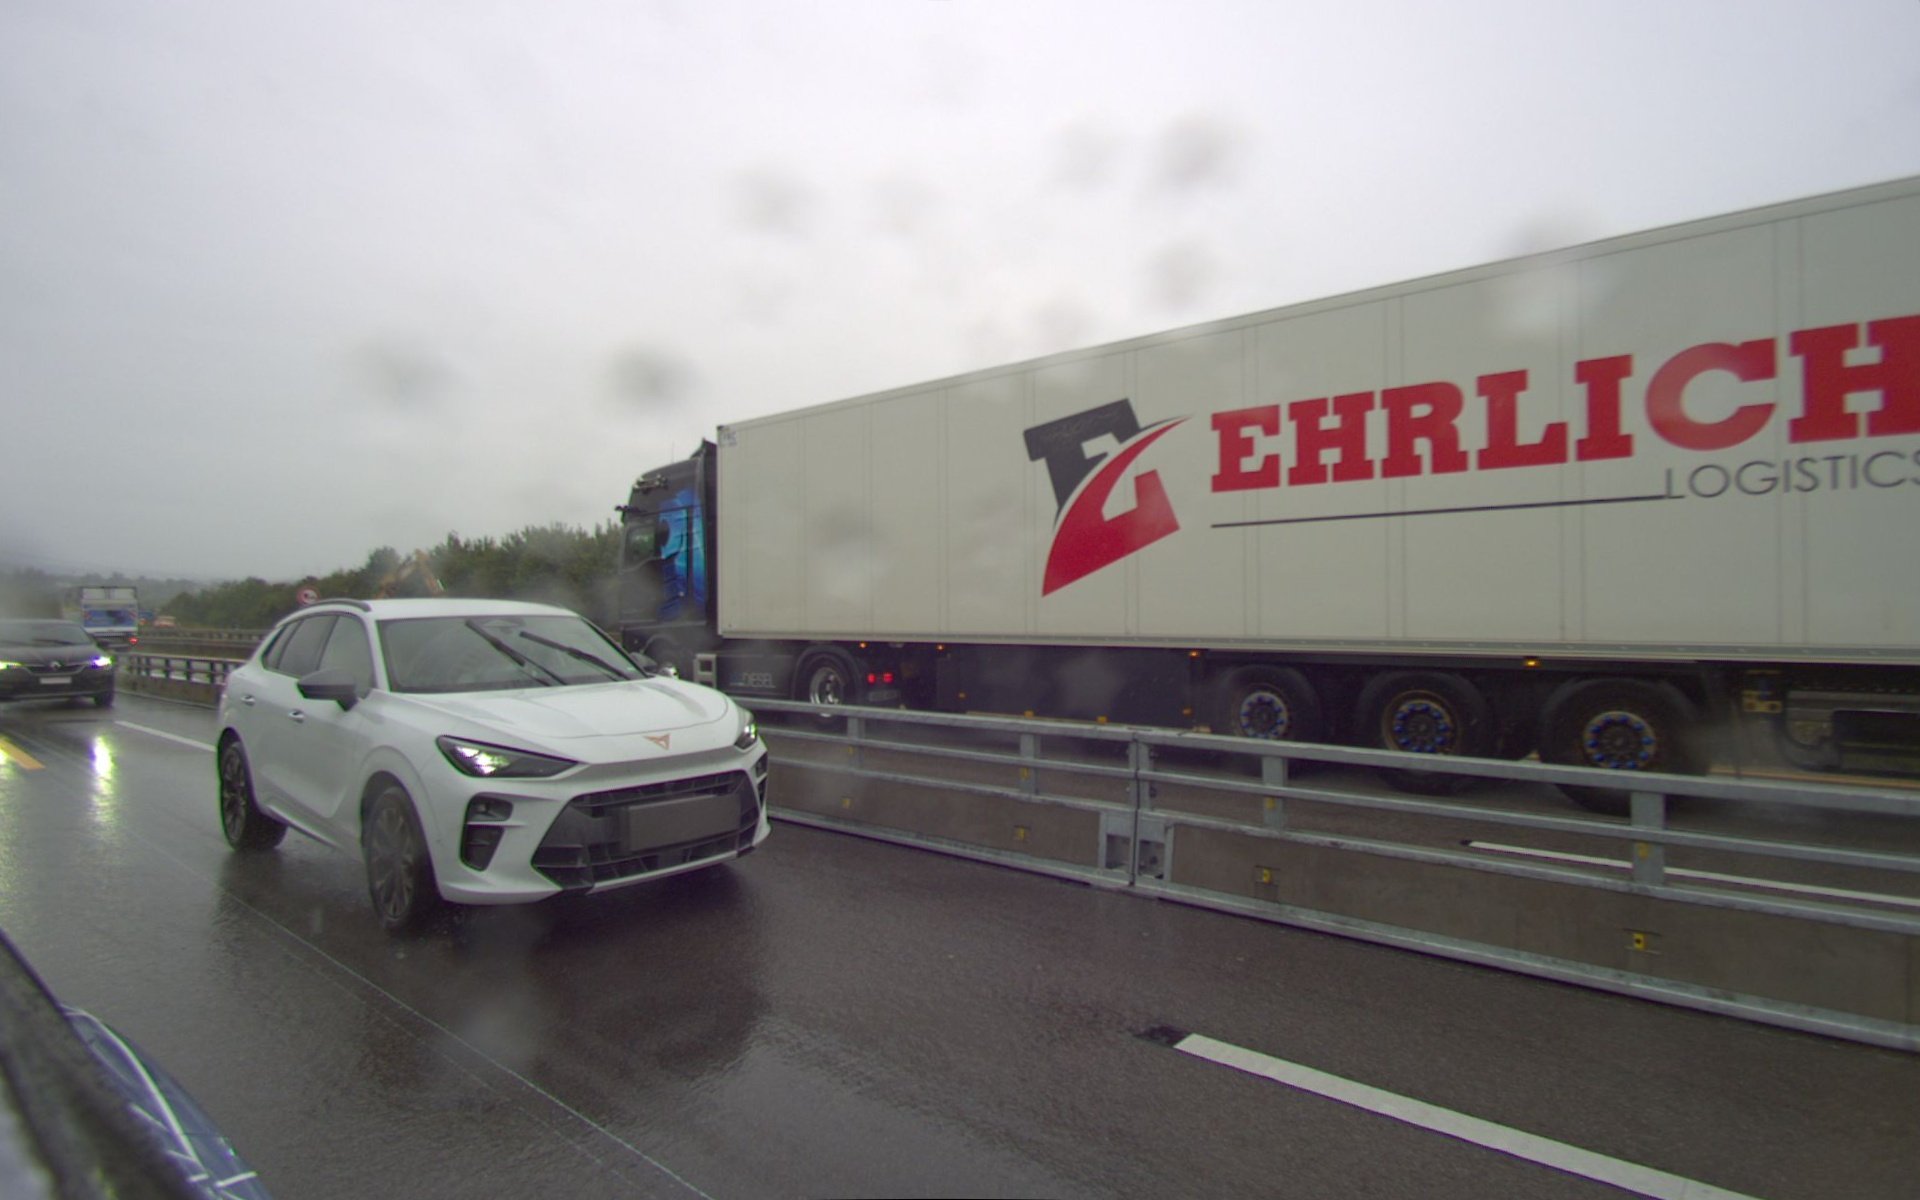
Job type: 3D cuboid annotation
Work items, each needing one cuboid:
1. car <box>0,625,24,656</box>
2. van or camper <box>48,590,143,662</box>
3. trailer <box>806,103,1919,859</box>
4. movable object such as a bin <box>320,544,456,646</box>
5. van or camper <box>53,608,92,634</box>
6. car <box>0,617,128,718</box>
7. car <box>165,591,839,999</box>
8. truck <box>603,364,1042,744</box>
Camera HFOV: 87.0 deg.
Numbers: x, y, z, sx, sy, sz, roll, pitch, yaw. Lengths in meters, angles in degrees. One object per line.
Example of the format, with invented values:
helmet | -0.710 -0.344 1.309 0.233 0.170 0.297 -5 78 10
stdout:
car | -56.351 2.370 59.314 4.540 1.681 1.619 -1 0 40
van or camper | -39.871 1.138 46.593 6.694 3.064 2.270 -1 0 40
trailer | 3.889 -0.640 9.086 12.889 4.319 2.862 -1 -1 42
movable object such as a bin | -36.365 -0.263 64.084 11.041 5.959 4.127 -1 0 42
van or camper | -158.897 3.754 181.248 8.487 4.356 3.338 -1 0 35
car | -17.268 1.150 18.771 5.193 1.640 2.042 -1 -1 41
car | -3.142 0.776 6.258 5.004 1.562 1.907 -1 0 41
truck | -2.196 -0.477 14.531 6.324 4.264 2.858 -1 -1 42
